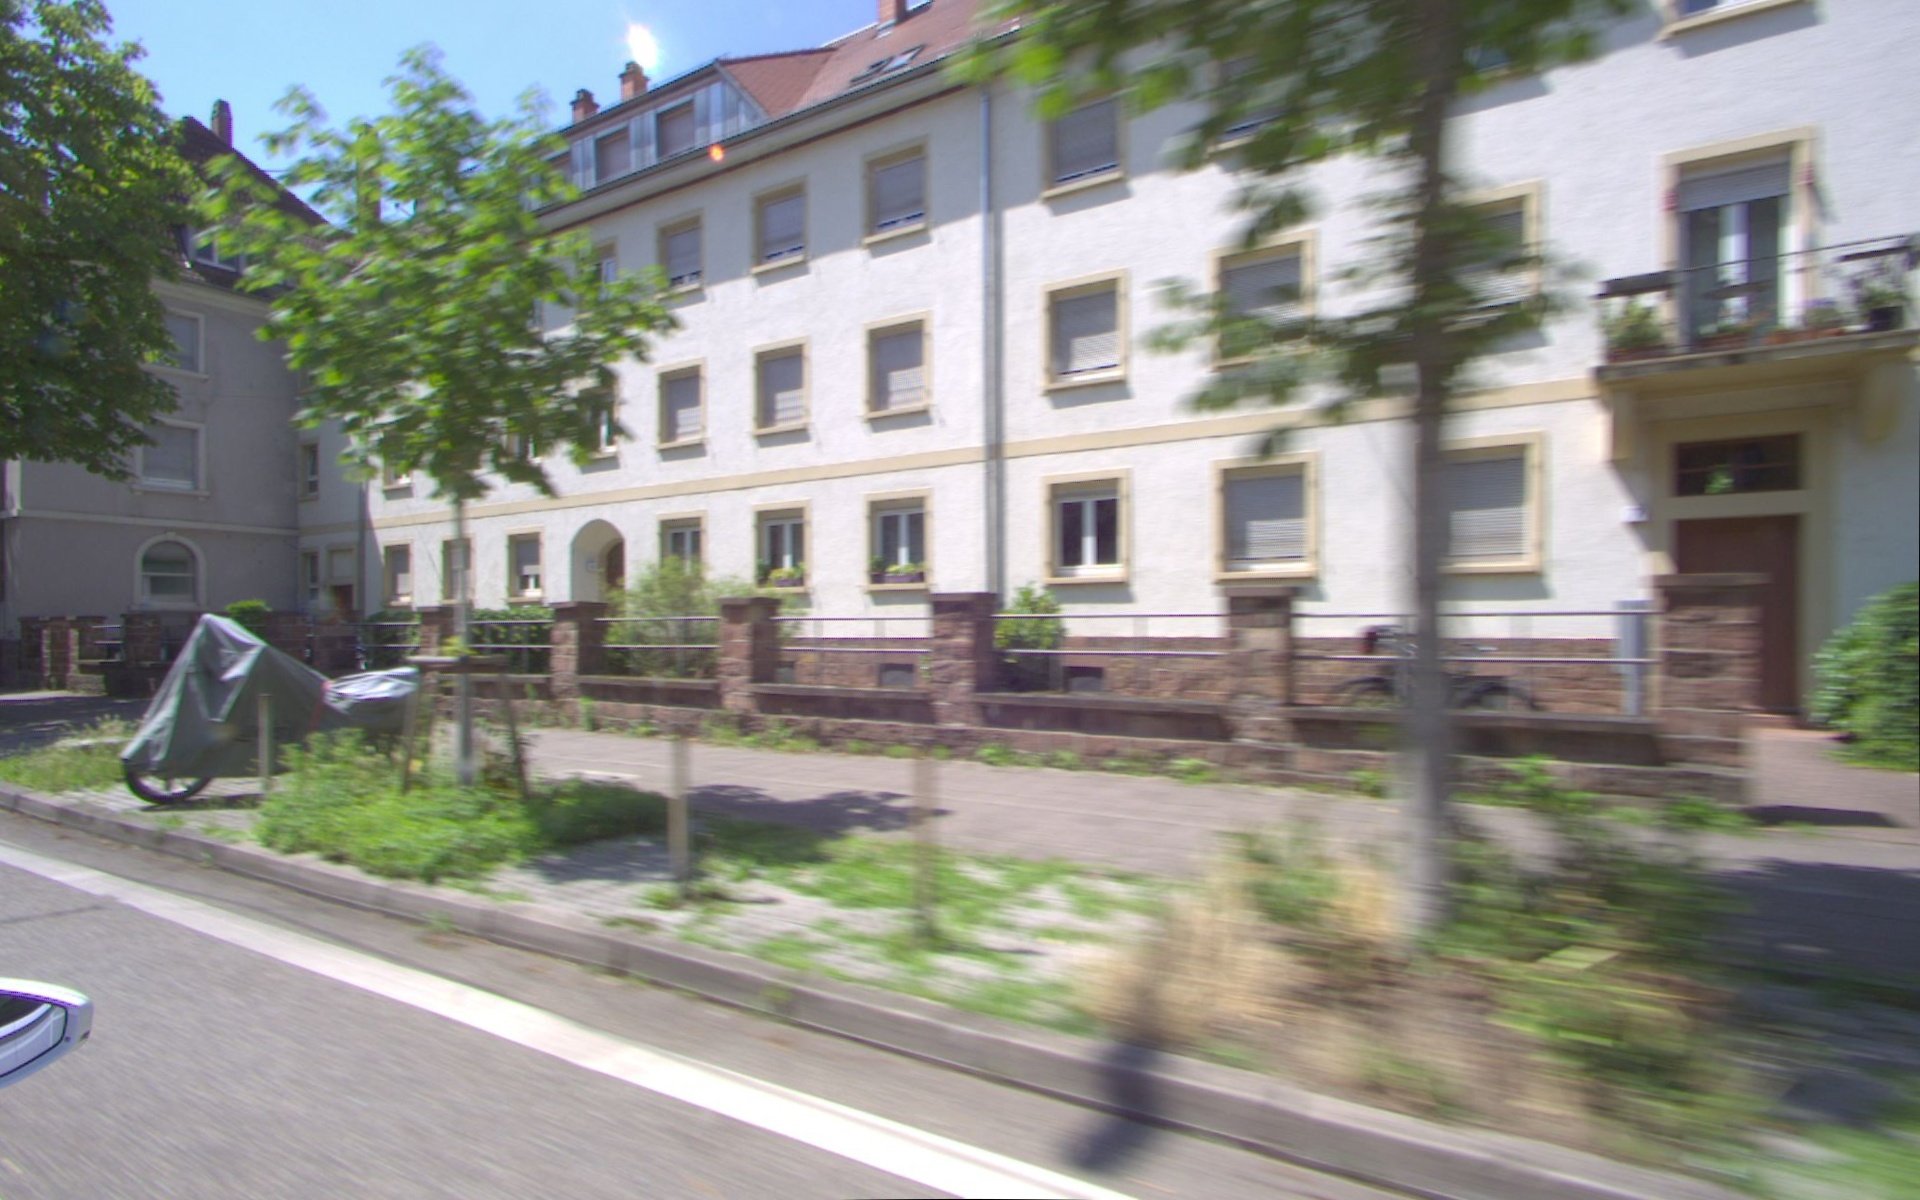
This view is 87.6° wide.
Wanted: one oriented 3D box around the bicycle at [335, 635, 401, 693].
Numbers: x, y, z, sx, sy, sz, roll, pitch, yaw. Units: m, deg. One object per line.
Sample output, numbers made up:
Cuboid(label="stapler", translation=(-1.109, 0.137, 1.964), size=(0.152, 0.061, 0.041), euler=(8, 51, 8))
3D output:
Cuboid(label="bicycle", translation=(-11.566, 1.230, 19.543), size=(1.542, 1.070, 0.458), euler=(-1, 0, 33))

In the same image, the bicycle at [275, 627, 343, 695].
Cuboid(label="bicycle", translation=(-12.095, 1.110, 18.585), size=(1.542, 1.207, 0.458), euler=(-1, 0, 33))

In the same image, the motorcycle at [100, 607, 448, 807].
Cuboid(label="motorcycle", translation=(-5.725, 0.846, 8.542), size=(2.279, 1.560, 0.868), euler=(0, 0, -15))

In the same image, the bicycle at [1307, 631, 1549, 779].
Cuboid(label="bicycle", translation=(3.883, 0.829, 8.385), size=(1.782, 1.117, 0.497), euler=(-1, 0, 35))

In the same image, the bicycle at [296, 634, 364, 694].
Cuboid(label="bicycle", translation=(-11.901, 1.196, 18.909), size=(1.542, 1.070, 0.458), euler=(-1, 0, 33))

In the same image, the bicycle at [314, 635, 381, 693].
Cuboid(label="bicycle", translation=(-11.758, 1.212, 19.211), size=(1.542, 1.070, 0.458), euler=(-1, 0, 33))

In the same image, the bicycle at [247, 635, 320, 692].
Cuboid(label="bicycle", translation=(-13.291, 1.234, 19.659), size=(1.539, 1.070, 0.459), euler=(-1, 1, 26))

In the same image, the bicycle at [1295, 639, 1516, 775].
Cuboid(label="bicycle", translation=(4.017, 0.925, 9.110), size=(1.782, 1.117, 0.497), euler=(-1, 0, 35))
